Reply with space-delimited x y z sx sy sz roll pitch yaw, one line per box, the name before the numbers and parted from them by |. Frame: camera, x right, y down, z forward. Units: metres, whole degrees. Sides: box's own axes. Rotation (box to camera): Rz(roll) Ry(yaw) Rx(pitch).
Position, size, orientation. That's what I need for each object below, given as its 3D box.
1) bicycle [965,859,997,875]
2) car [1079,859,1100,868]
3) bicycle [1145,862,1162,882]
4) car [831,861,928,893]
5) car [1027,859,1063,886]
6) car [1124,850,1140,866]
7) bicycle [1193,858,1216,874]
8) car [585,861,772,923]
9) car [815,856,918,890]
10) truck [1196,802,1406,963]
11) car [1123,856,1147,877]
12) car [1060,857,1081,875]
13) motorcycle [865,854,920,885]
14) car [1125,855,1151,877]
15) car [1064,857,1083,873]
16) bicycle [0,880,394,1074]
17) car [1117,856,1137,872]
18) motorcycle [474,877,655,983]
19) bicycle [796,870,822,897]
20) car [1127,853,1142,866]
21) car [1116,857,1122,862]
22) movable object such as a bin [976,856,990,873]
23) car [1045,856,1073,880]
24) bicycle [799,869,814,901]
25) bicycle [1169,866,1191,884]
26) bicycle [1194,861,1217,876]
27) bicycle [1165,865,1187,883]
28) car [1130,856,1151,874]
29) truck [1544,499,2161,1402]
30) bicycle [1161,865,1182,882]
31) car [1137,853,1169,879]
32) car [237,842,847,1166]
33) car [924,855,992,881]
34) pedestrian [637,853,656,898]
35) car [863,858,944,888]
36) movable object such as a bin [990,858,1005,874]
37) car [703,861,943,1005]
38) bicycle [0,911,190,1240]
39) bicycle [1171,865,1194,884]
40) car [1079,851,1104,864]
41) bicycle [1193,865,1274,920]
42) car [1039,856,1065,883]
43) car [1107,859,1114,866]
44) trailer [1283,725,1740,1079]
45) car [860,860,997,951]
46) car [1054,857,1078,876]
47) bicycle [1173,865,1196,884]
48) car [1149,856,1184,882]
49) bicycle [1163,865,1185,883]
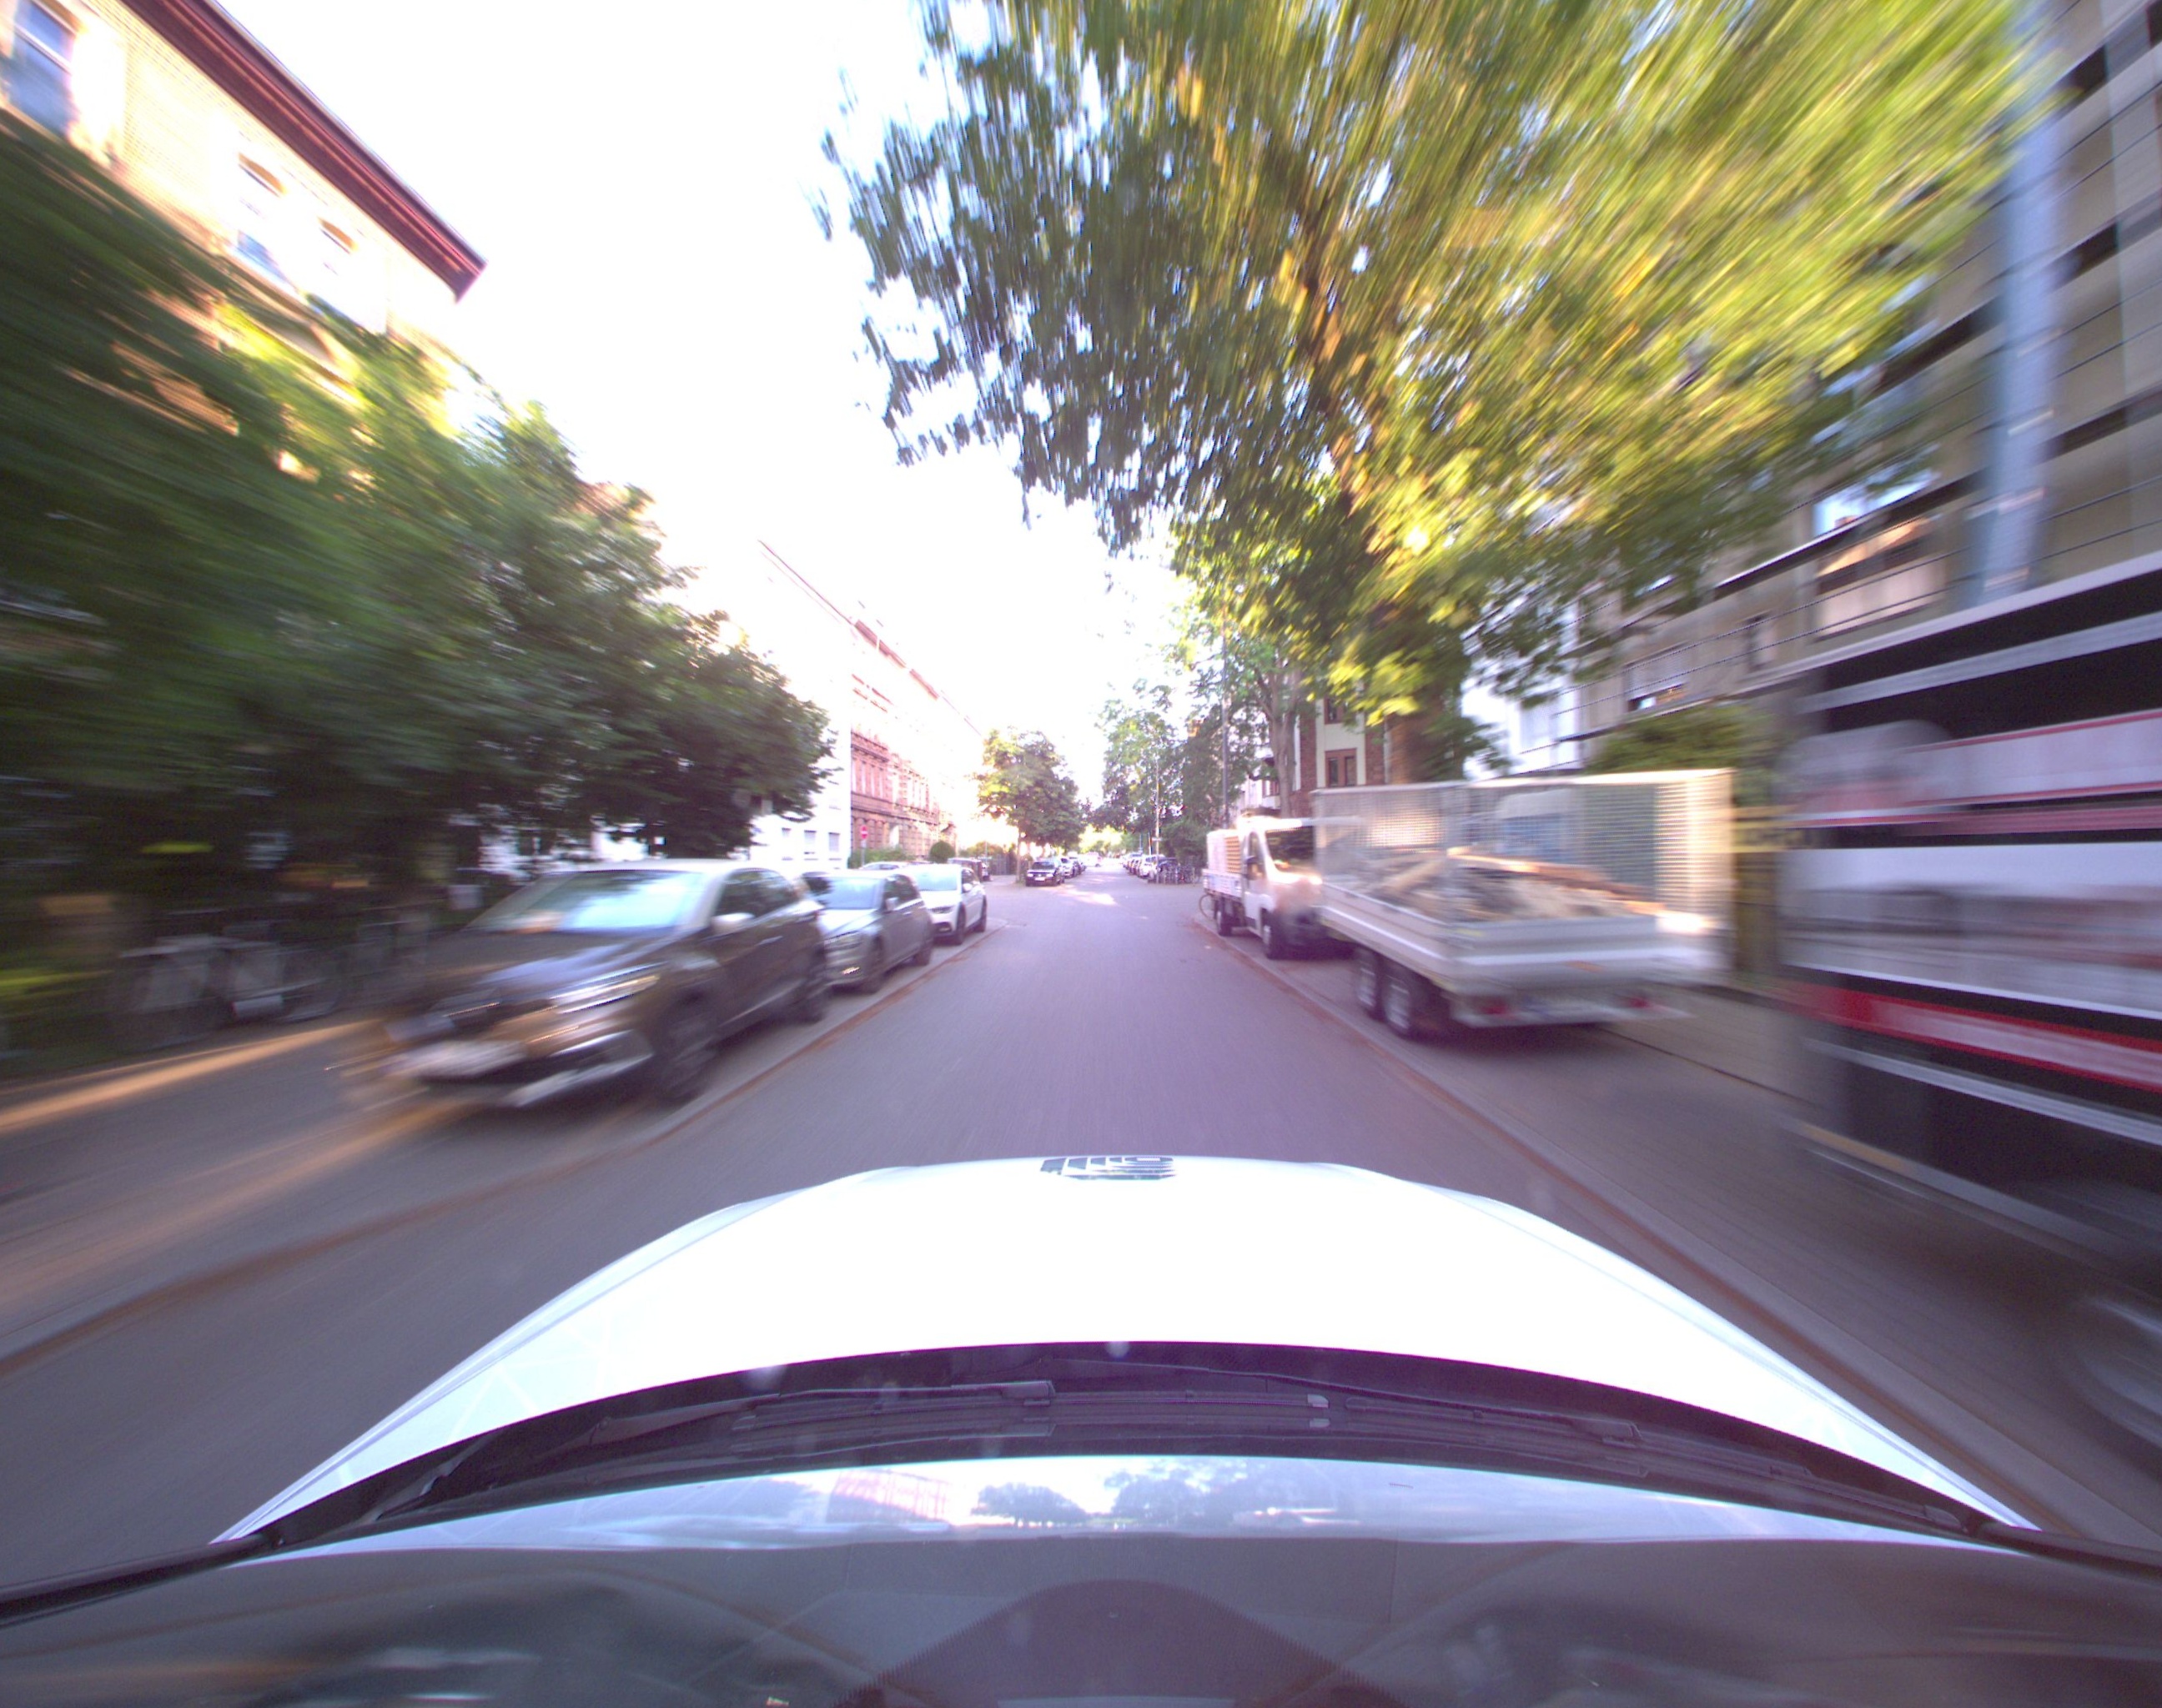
bicycle | -8.237 1.052 67.126 2.515 1.192 0.645 2 0 7
car | 1.524 1.677 140.940 3.609 1.461 1.605 0 0 -2
bicycle | 4.326 1.066 48.374 0.439 1.173 1.646 -1 -1 27
car | -9.548 1.068 38.789 4.065 1.447 1.823 0 1 12
car | -2.019 1.026 46.550 1.609 1.470 3.966 0 0 4
car | 6.359 0.462 101.046 1.675 1.941 3.879 0 -1 -1
bicycle | 8.831 0.863 58.226 1.504 1.034 0.330 -2 1 -1
car | -11.447 1.051 23.414 4.449 1.552 1.704 -1 1 -8
car | -9.563 0.848 36.383 4.067 1.447 1.714 0 1 10
truck | 3.600 0.441 14.954 1.971 2.244 6.774 -1 -1 0
car | 4.414 1.032 67.391 1.682 1.606 3.747 0 -1 -1
car | -0.902 1.063 74.066 1.709 1.566 3.789 0 0 2
motorcycle | -10.273 0.855 44.368 2.834 1.638 0.677 -1 -1 10
car | 4.383 0.947 62.815 1.682 1.606 4.208 0 -1 -1
car | -0.735 1.126 83.155 1.709 1.596 4.521 0 0 2
bicycle | -7.511 0.915 6.962 0.600 1.284 2.499 -2 0 22
car | 4.522 0.995 80.743 1.682 1.606 3.938 0 -1 -1
motorcycle | -7.106 0.978 11.454 0.580 1.156 2.893 2 1 2
bicycle | -11.548 1.242 34.648 0.394 1.062 1.879 -1 0 3
car | 6.363 0.688 97.053 1.534 1.521 3.430 0 -1 -1
car | 11.106 1.644 240.288 1.709 1.596 3.484 0 0 2
movable object such as a bin | -8.345 0.888 69.410 1.097 1.414 1.001 1 0 -12
car | -1.644 1.029 62.525 1.914 1.717 4.429 0 0 2
bicycle | -10.530 1.177 31.176 0.368 1.152 1.837 0 0 -24
bicycle | 5.653 1.198 46.412 1.226 0.963 0.329 -1 1 -16
bicycle | 8.815 1.027 57.599 1.504 1.034 0.330 -2 1 -1
bicycle | 5.475 1.145 46.809 1.228 0.957 0.328 -1 1 -21
car | 5.288 0.960 72.681 1.680 1.441 4.211 -3 -1 2
truck | 3.659 0.206 2.433 1.946 2.246 4.647 -3 0 2
bicycle | 5.368 1.132 48.125 1.230 0.951 0.327 -2 1 -26
car | 5.052 0.838 57.418 1.792 1.711 4.599 -1 -1 -1
car | -3.301 0.739 6.242 1.684 1.563 4.402 2 0 0
car | -8.077 0.928 53.696 4.079 1.527 1.709 2 0 0
pedestrian | -16.685 0.827 31.290 0.536 1.682 0.579 0 2 -18
car | -8.998 0.963 41.429 3.541 1.447 1.823 0 1 10
movable object such as a bin | -7.109 1.041 69.549 1.007 1.321 1.007 1 0 6
car | -3.111 0.866 10.834 1.683 1.502 4.403 -1 -1 1
bicycle | -4.584 0.916 2.944 0.480 1.255 1.902 3 0 5
bicycle | 5.663 1.150 45.490 1.220 0.987 0.330 -2 1 -1
car | 1.784 0.575 143.688 4.335 2.318 1.745 0 0 0
bicycle | 3.837 0.961 20.515 1.899 1.258 0.406 -3 -1 -4
car | -1.825 0.961 51.430 1.591 1.603 3.742 0 0 -2
car | 6.938 2.083 191.258 1.806 1.596 3.484 0 0 2
trailer | 3.499 0.330 7.866 1.947 2.295 4.646 -3 0 2
car | -2.939 0.921 16.729 1.683 1.502 4.741 2 0 2
car | -1.209 1.046 67.290 1.709 1.566 3.782 0 -1 2
bicycle | 5.837 1.145 45.874 1.221 0.987 0.330 -2 1 -2
car | 5.314 0.915 51.245 1.682 1.592 3.656 -1 0 -2
bicycle | 5.428 1.166 47.510 1.228 0.947 0.328 -1 1 -21
